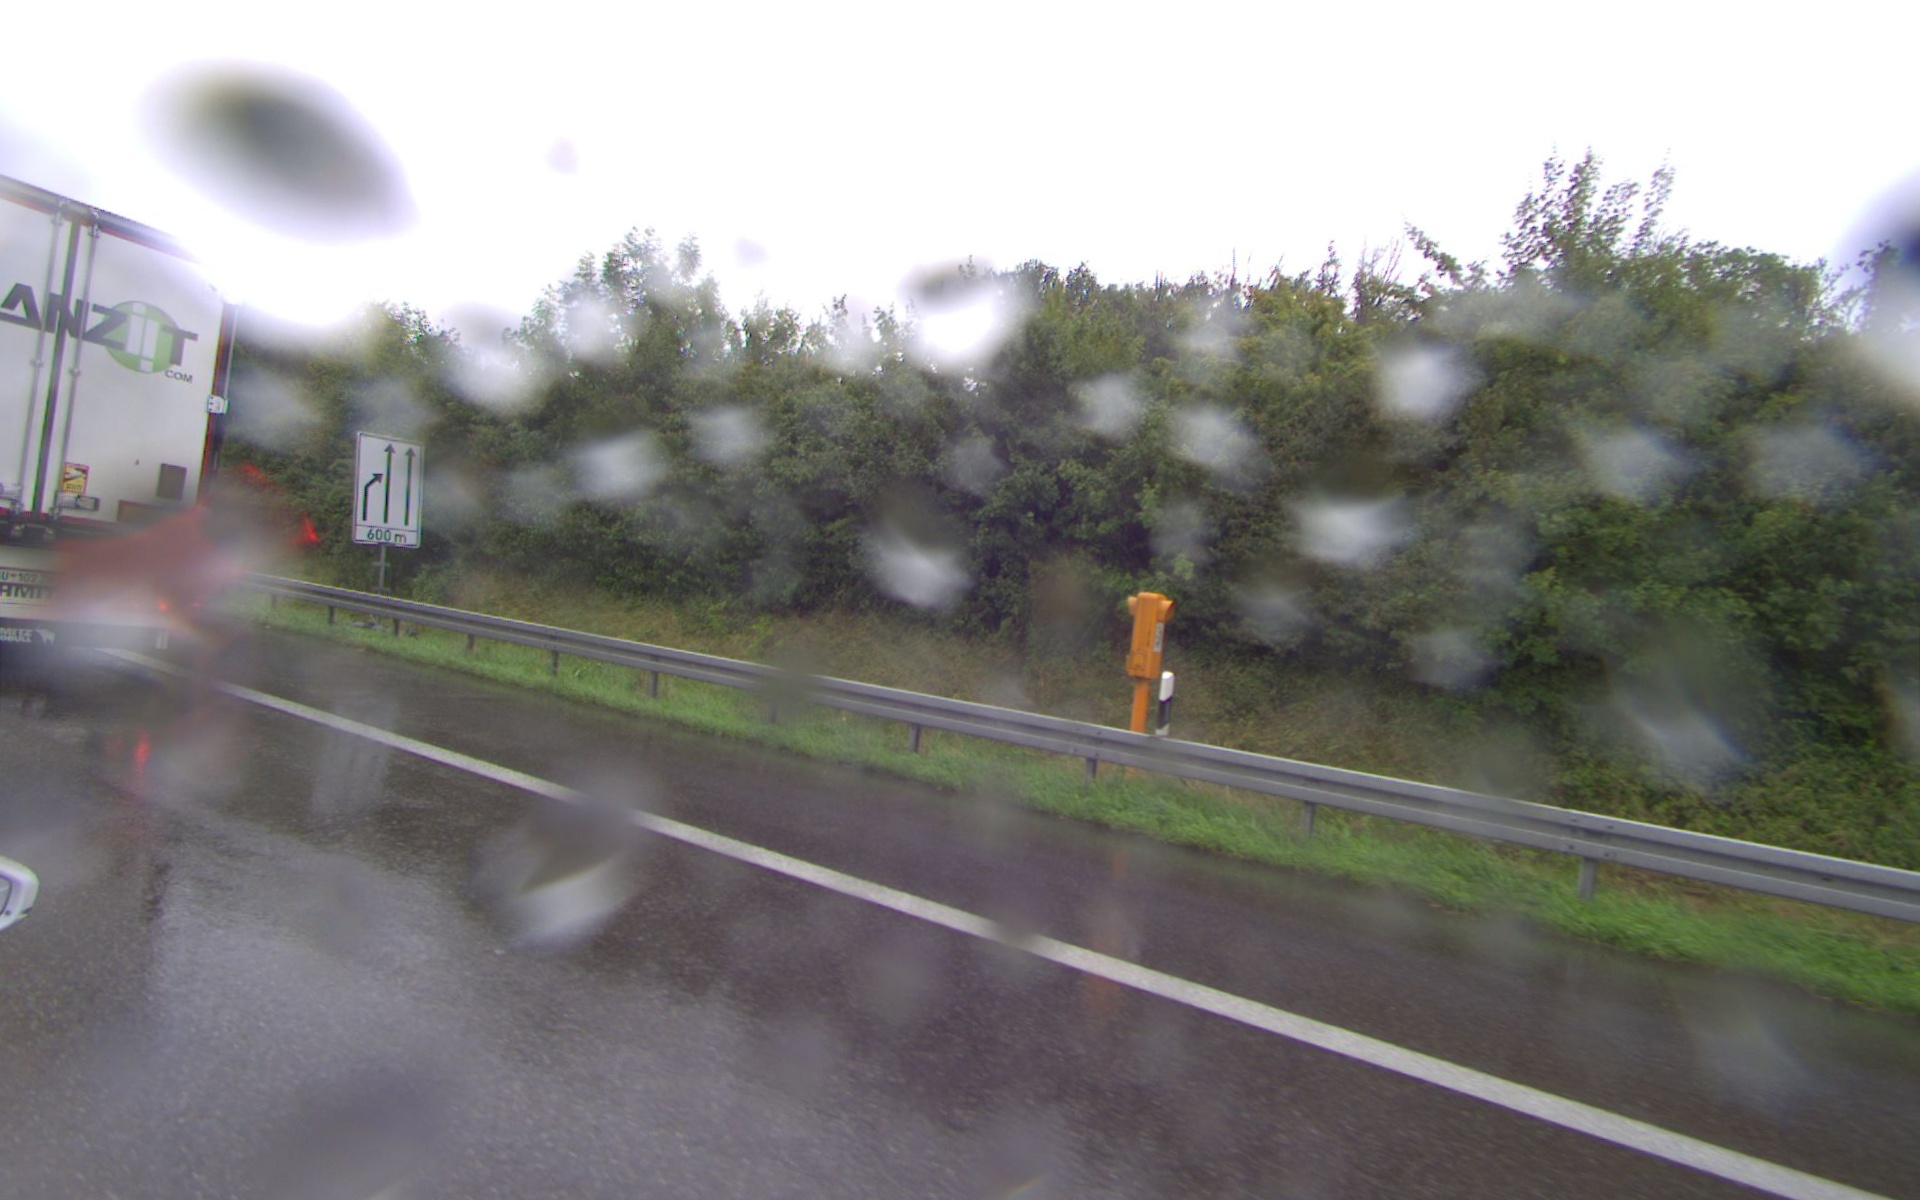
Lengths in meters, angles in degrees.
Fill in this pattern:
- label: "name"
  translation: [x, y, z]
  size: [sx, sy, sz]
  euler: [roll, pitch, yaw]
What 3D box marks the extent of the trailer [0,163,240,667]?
- label: "trailer"
  translation: [-13.871, -2.236, 12.303]
  size: [14.386, 4.061, 2.634]
  euler: [7, 0, 32]
